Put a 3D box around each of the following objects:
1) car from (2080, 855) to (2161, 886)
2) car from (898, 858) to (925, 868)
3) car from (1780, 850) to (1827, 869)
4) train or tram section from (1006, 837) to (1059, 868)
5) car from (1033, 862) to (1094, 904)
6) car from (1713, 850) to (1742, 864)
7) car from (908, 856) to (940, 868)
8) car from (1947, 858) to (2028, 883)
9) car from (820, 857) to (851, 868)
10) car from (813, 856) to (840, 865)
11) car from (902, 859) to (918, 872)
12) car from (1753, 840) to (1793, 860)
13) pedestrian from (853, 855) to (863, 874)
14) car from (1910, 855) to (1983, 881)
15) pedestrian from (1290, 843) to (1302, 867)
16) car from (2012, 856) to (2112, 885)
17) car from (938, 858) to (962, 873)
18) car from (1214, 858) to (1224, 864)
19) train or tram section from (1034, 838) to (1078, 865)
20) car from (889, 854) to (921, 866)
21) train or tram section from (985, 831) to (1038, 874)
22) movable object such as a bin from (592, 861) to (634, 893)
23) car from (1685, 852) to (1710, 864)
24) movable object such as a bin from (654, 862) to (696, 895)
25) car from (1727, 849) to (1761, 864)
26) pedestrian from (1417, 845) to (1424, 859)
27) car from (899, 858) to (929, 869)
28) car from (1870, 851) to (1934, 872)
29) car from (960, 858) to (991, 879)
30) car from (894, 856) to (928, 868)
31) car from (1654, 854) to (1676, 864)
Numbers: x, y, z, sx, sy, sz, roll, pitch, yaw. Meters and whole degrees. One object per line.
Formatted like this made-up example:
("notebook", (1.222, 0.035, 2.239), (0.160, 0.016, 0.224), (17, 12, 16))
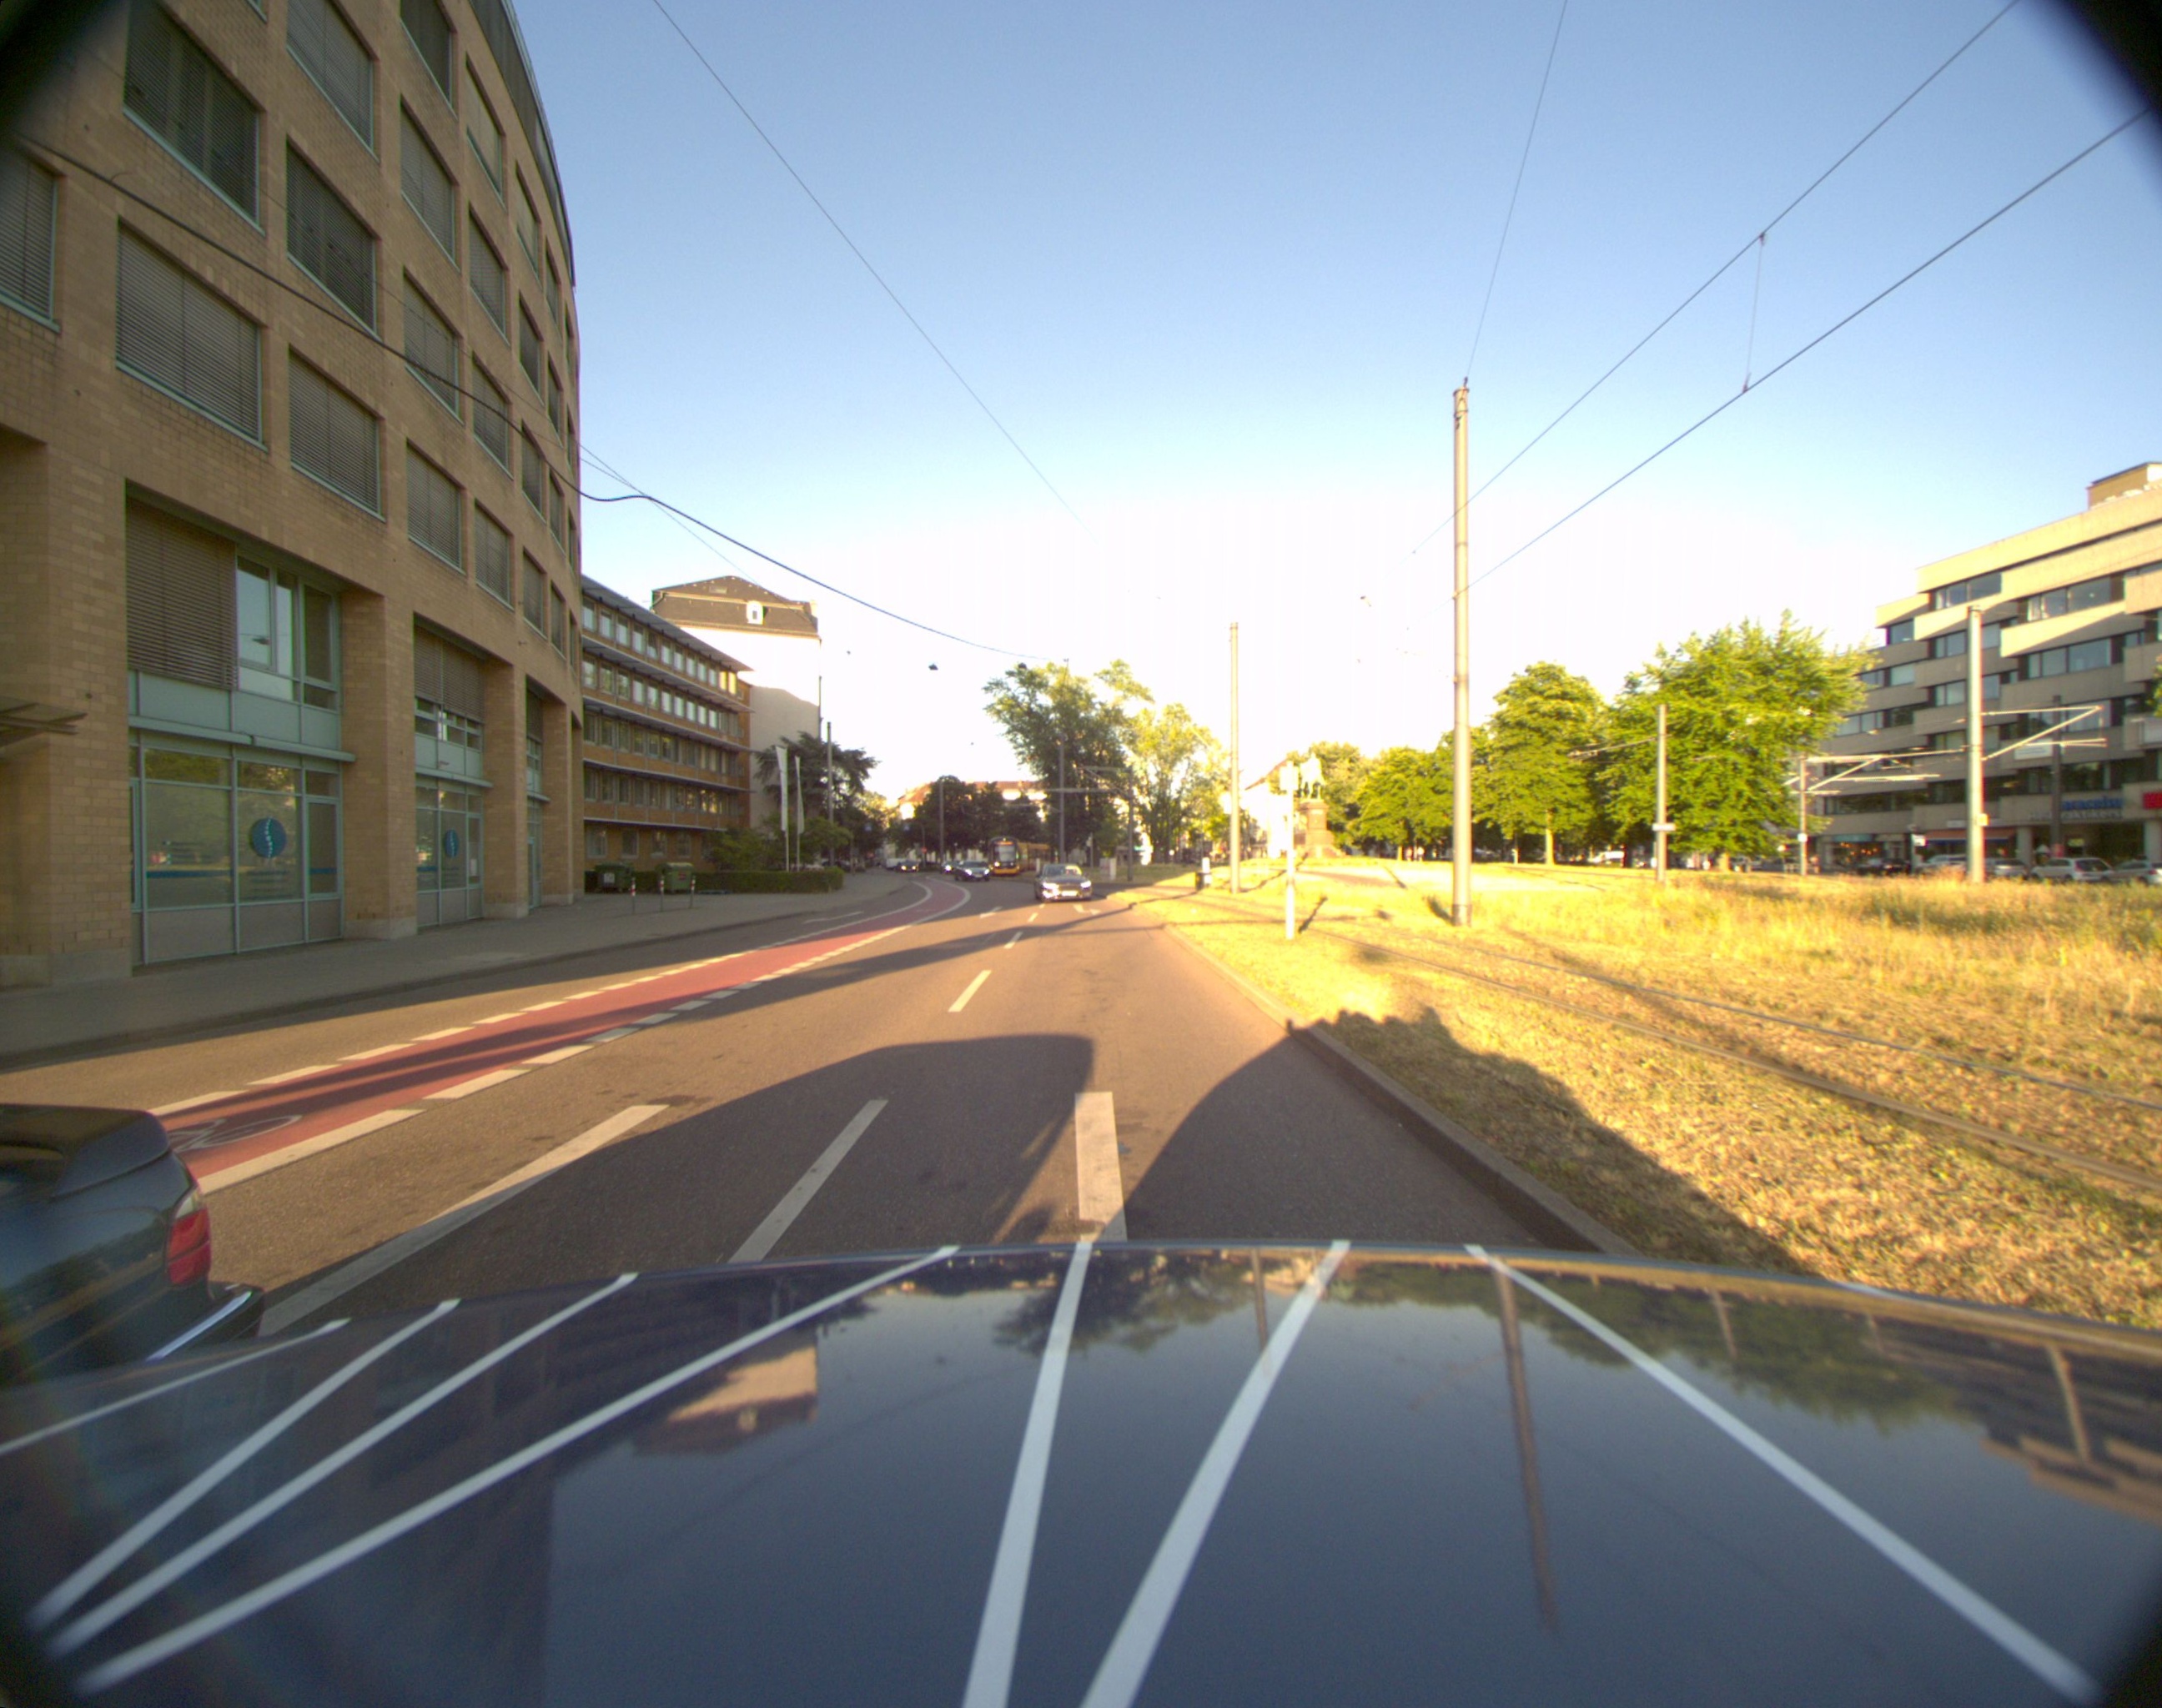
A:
("car", (54.157, 0.848, 39.048), (1.755, 1.542, 4.008), (-1, -1, 26))
("car", (-27.132, 1.485, 121.613), (4.067, 1.542, 1.999), (0, -1, -6))
("car", (70.180, 0.524, 73.907), (1.935, 1.784, 4.217), (-1, -1, 23))
("train or tram section", (-5.122, -0.228, 83.507), (2.927, 3.123, 12.865), (-1, 0, 9))
("car", (-0.749, 1.081, 29.338), (1.821, 1.473, 4.133), (-2, -1, -8))
("car", (78.508, 0.367, 92.298), (1.793, 1.570, 4.008), (-1, -1, 27))
("car", (-21.495, 1.119, 104.187), (4.067, 1.547, 1.865), (0, -1, -6))
("car", (58.630, 1.054, 49.240), (1.755, 1.542, 4.007), (-1, -1, 23))
("car", (-34.170, 1.184, 105.746), (4.072, 1.560, 1.835), (0, -1, -19))
("car", (-45.611, 1.149, 136.265), (4.404, 1.603, 1.726), (0, -1, -23))
("car", (-20.941, 1.395, 92.811), (1.822, 1.473, 4.131), (-1, -1, -14))
("car", (72.788, -0.418, 79.973), (1.755, 1.932, 4.217), (-1, -1, 23))
("pedestrian", (-21.566, 0.991, 73.391), (0.591, 1.781, 0.822), (0, -1, 11))
("car", (61.470, 1.029, 54.047), (1.755, 1.784, 4.217), (-1, -1, 23))
("pedestrian", (15.066, 0.075, 53.317), (0.476, 1.680, 0.835), (0, 0, -14))
("car", (56.264, 0.942, 43.688), (1.755, 1.542, 4.007), (-1, -1, 23))
("car", (-13.801, 1.235, 79.657), (1.823, 1.473, 4.129), (0, -1, -19))
("car", (32.975, 1.663, 181.451), (1.801, 1.542, 3.968), (0, -1, 1))
("train or tram section", (-2.965, -0.335, 96.029), (2.921, 3.123, 12.654), (-1, 0, 10))
("car", (-29.846, 0.953, 128.997), (5.078, 2.010, 1.968), (0, -1, 2))
("train or tram section", (-6.214, -0.126, 70.124), (2.947, 3.563, 13.369), (-1, 0, 3))
("movable object such as a bin", (-21.260, 1.033, 34.553), (1.345, 1.415, 0.923), (0, -1, -7))
("car", (83.933, 0.522, 103.480), (1.793, 1.570, 4.008), (-1, -1, 27))
("movable object such as a bin", (-18.203, 1.085, 34.094), (0.972, 1.429, 1.347), (0, -1, 19))
("car", (76.176, 0.328, 87.319), (1.755, 1.653, 4.007), (-1, -1, 23))
("pedestrian", (37.414, -0.216, 83.725), (0.619, 1.571, 0.553), (0, -1, 2))
("car", (-24.537, 1.421, 111.746), (4.067, 1.542, 1.999), (0, -1, -6))
("car", (64.253, 0.615, 59.557), (1.861, 1.547, 4.076), (-1, -1, 23))
("car", (-7.803, 1.078, 55.910), (1.822, 1.473, 4.131), (0, -1, -14))
("car", (-28.176, 1.318, 126.180), (5.078, 1.891, 2.122), (0, -1, 2))
("car", (85.372, 0.727, 111.183), (1.707, 1.382, 4.008), (-1, -1, 24))
